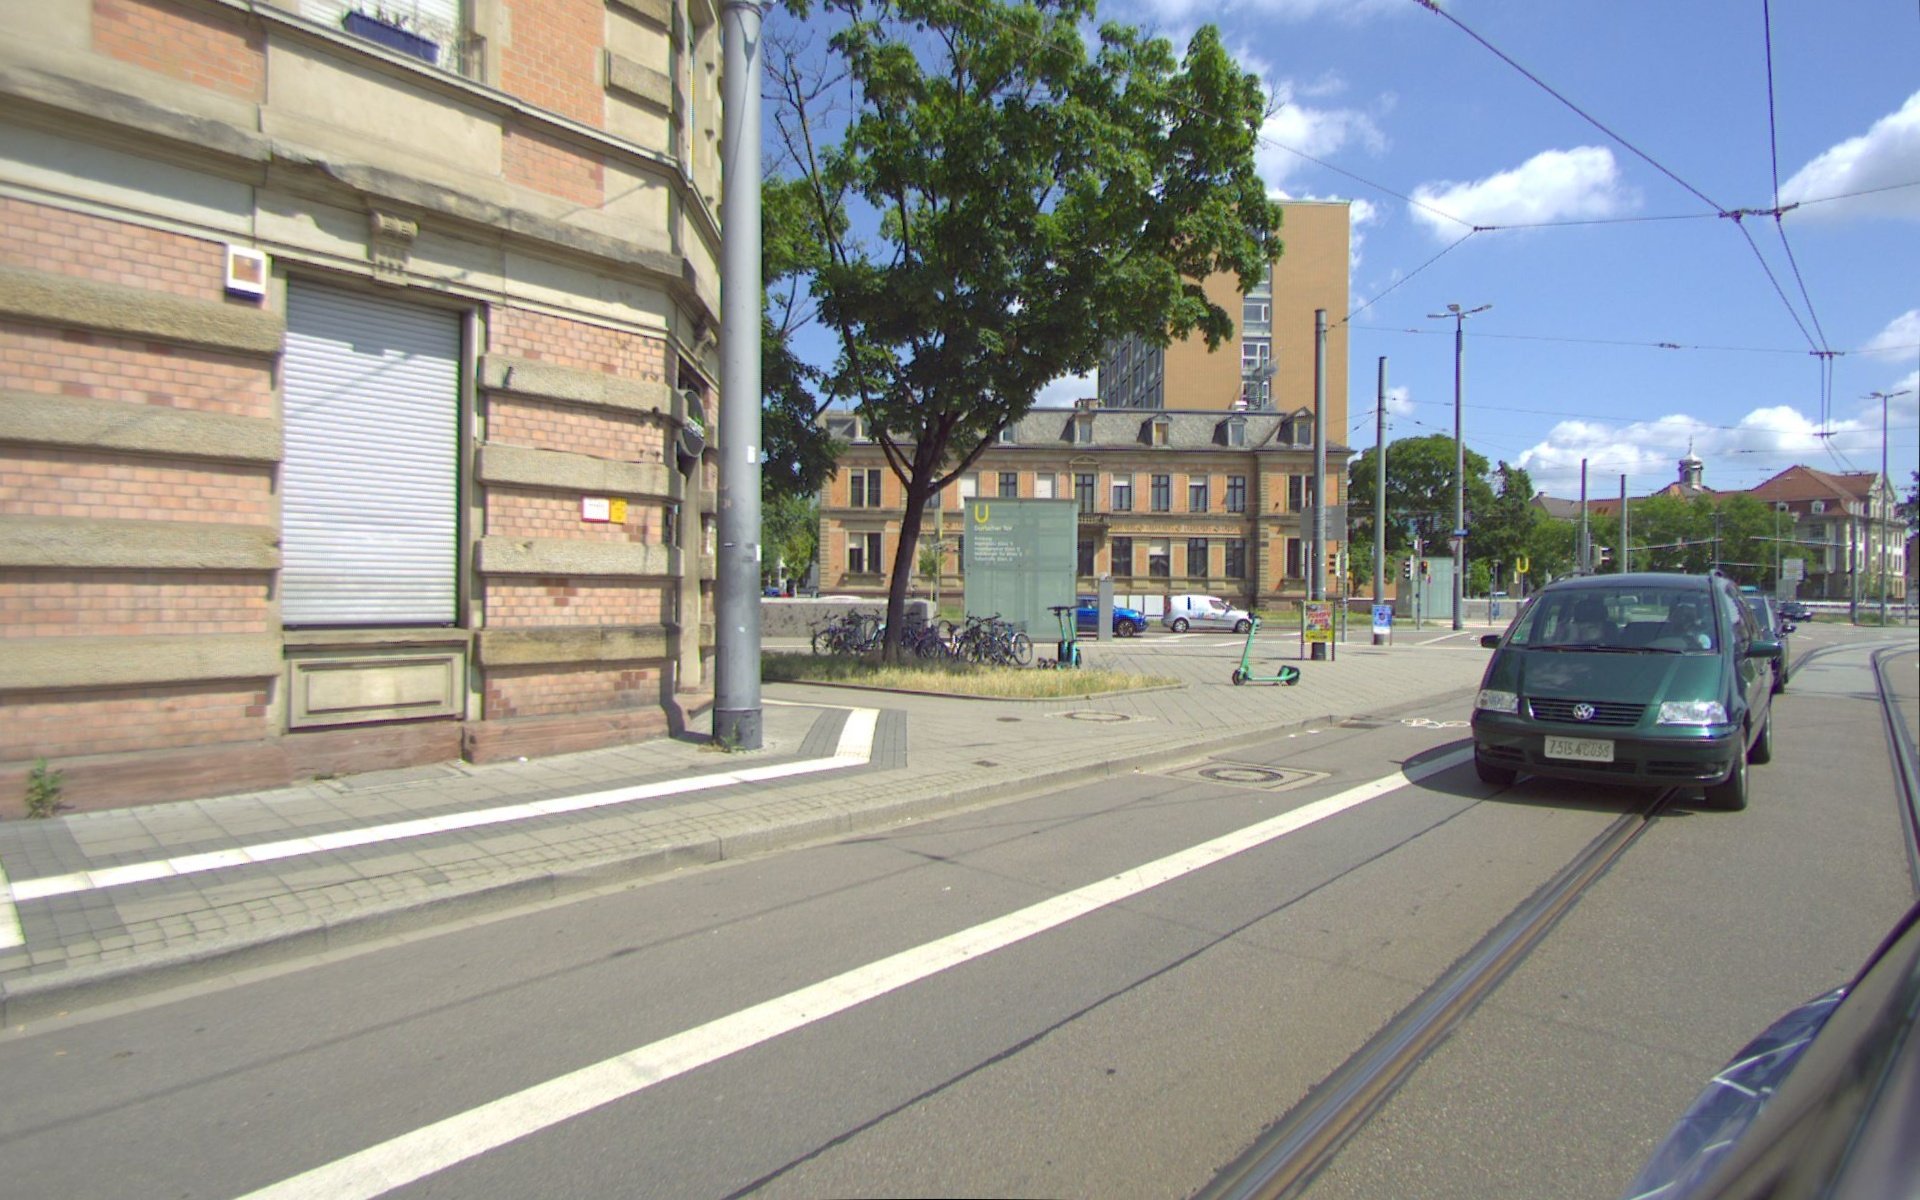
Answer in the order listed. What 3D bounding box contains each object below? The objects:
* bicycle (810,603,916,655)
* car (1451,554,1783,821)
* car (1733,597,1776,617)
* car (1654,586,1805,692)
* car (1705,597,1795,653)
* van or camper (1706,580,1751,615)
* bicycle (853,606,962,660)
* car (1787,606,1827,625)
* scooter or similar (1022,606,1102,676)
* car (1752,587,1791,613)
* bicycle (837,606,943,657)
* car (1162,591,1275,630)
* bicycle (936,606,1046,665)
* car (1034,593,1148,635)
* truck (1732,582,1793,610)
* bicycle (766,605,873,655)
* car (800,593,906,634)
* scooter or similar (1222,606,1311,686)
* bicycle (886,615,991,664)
[{"bbox_3d":[-2.234,0.657,23.633,0.792,1.104,2.532,1,1,45],"label":"bicycle"},{"bbox_3d":[5.815,0.570,8.730,1.812,1.739,4.024,-2,-1,41],"label":"car"},{"bbox_3d":[58.815,0.495,75.021,1.885,1.482,4.216,0,0,30],"label":"car"},{"bbox_3d":[13.727,0.622,17.984,1.865,1.637,4.363,-3,-1,39],"label":"car"},{"bbox_3d":[23.200,0.667,29.865,1.862,1.504,4.370,0,0,35],"label":"car"},{"bbox_3d":[63.277,-0.179,83.402,2.214,2.770,5.463,0,0,30],"label":"van or camper"},{"bbox_3d":[-1.123,0.700,22.308,0.792,1.083,2.532,1,1,45],"label":"bicycle"},{"bbox_3d":[62.547,1.116,74.765,1.659,1.393,3.871,0,0,31],"label":"car"},{"bbox_3d":[1.927,0.739,18.979,0.945,1.218,1.372,1,1,36],"label":"scooter or similar"},{"bbox_3d":[65.736,-0.033,82.029,1.800,2.039,3.959,1,1,29],"label":"car"},{"bbox_3d":[-1.564,0.689,23.115,0.792,1.067,2.532,1,1,45],"label":"bicycle"},{"bbox_3d":[10.845,0.423,42.767,4.348,1.607,1.872,0,0,5],"label":"car"},{"bbox_3d":[0.653,0.700,20.798,1.025,1.095,2.227,1,2,45],"label":"bicycle"},{"bbox_3d":[5.142,0.534,40.131,4.349,1.570,1.872,0,2,6],"label":"car"},{"bbox_3d":[92.161,-0.475,116.372,3.320,3.036,8.662,0,0,24],"label":"truck"},{"bbox_3d":[-3.283,0.676,23.859,0.792,1.067,2.532,1,1,45],"label":"bicycle"},{"bbox_3d":[-4.270,0.522,40.661,3.927,1.585,1.936,0,0,7],"label":"car"},{"bbox_3d":[4.934,0.718,16.276,1.067,1.194,0.949,0,1,-41],"label":"scooter or similar"},{"bbox_3d":[-0.427,0.802,21.215,0.842,0.891,2.251,1,2,45],"label":"bicycle"}]
